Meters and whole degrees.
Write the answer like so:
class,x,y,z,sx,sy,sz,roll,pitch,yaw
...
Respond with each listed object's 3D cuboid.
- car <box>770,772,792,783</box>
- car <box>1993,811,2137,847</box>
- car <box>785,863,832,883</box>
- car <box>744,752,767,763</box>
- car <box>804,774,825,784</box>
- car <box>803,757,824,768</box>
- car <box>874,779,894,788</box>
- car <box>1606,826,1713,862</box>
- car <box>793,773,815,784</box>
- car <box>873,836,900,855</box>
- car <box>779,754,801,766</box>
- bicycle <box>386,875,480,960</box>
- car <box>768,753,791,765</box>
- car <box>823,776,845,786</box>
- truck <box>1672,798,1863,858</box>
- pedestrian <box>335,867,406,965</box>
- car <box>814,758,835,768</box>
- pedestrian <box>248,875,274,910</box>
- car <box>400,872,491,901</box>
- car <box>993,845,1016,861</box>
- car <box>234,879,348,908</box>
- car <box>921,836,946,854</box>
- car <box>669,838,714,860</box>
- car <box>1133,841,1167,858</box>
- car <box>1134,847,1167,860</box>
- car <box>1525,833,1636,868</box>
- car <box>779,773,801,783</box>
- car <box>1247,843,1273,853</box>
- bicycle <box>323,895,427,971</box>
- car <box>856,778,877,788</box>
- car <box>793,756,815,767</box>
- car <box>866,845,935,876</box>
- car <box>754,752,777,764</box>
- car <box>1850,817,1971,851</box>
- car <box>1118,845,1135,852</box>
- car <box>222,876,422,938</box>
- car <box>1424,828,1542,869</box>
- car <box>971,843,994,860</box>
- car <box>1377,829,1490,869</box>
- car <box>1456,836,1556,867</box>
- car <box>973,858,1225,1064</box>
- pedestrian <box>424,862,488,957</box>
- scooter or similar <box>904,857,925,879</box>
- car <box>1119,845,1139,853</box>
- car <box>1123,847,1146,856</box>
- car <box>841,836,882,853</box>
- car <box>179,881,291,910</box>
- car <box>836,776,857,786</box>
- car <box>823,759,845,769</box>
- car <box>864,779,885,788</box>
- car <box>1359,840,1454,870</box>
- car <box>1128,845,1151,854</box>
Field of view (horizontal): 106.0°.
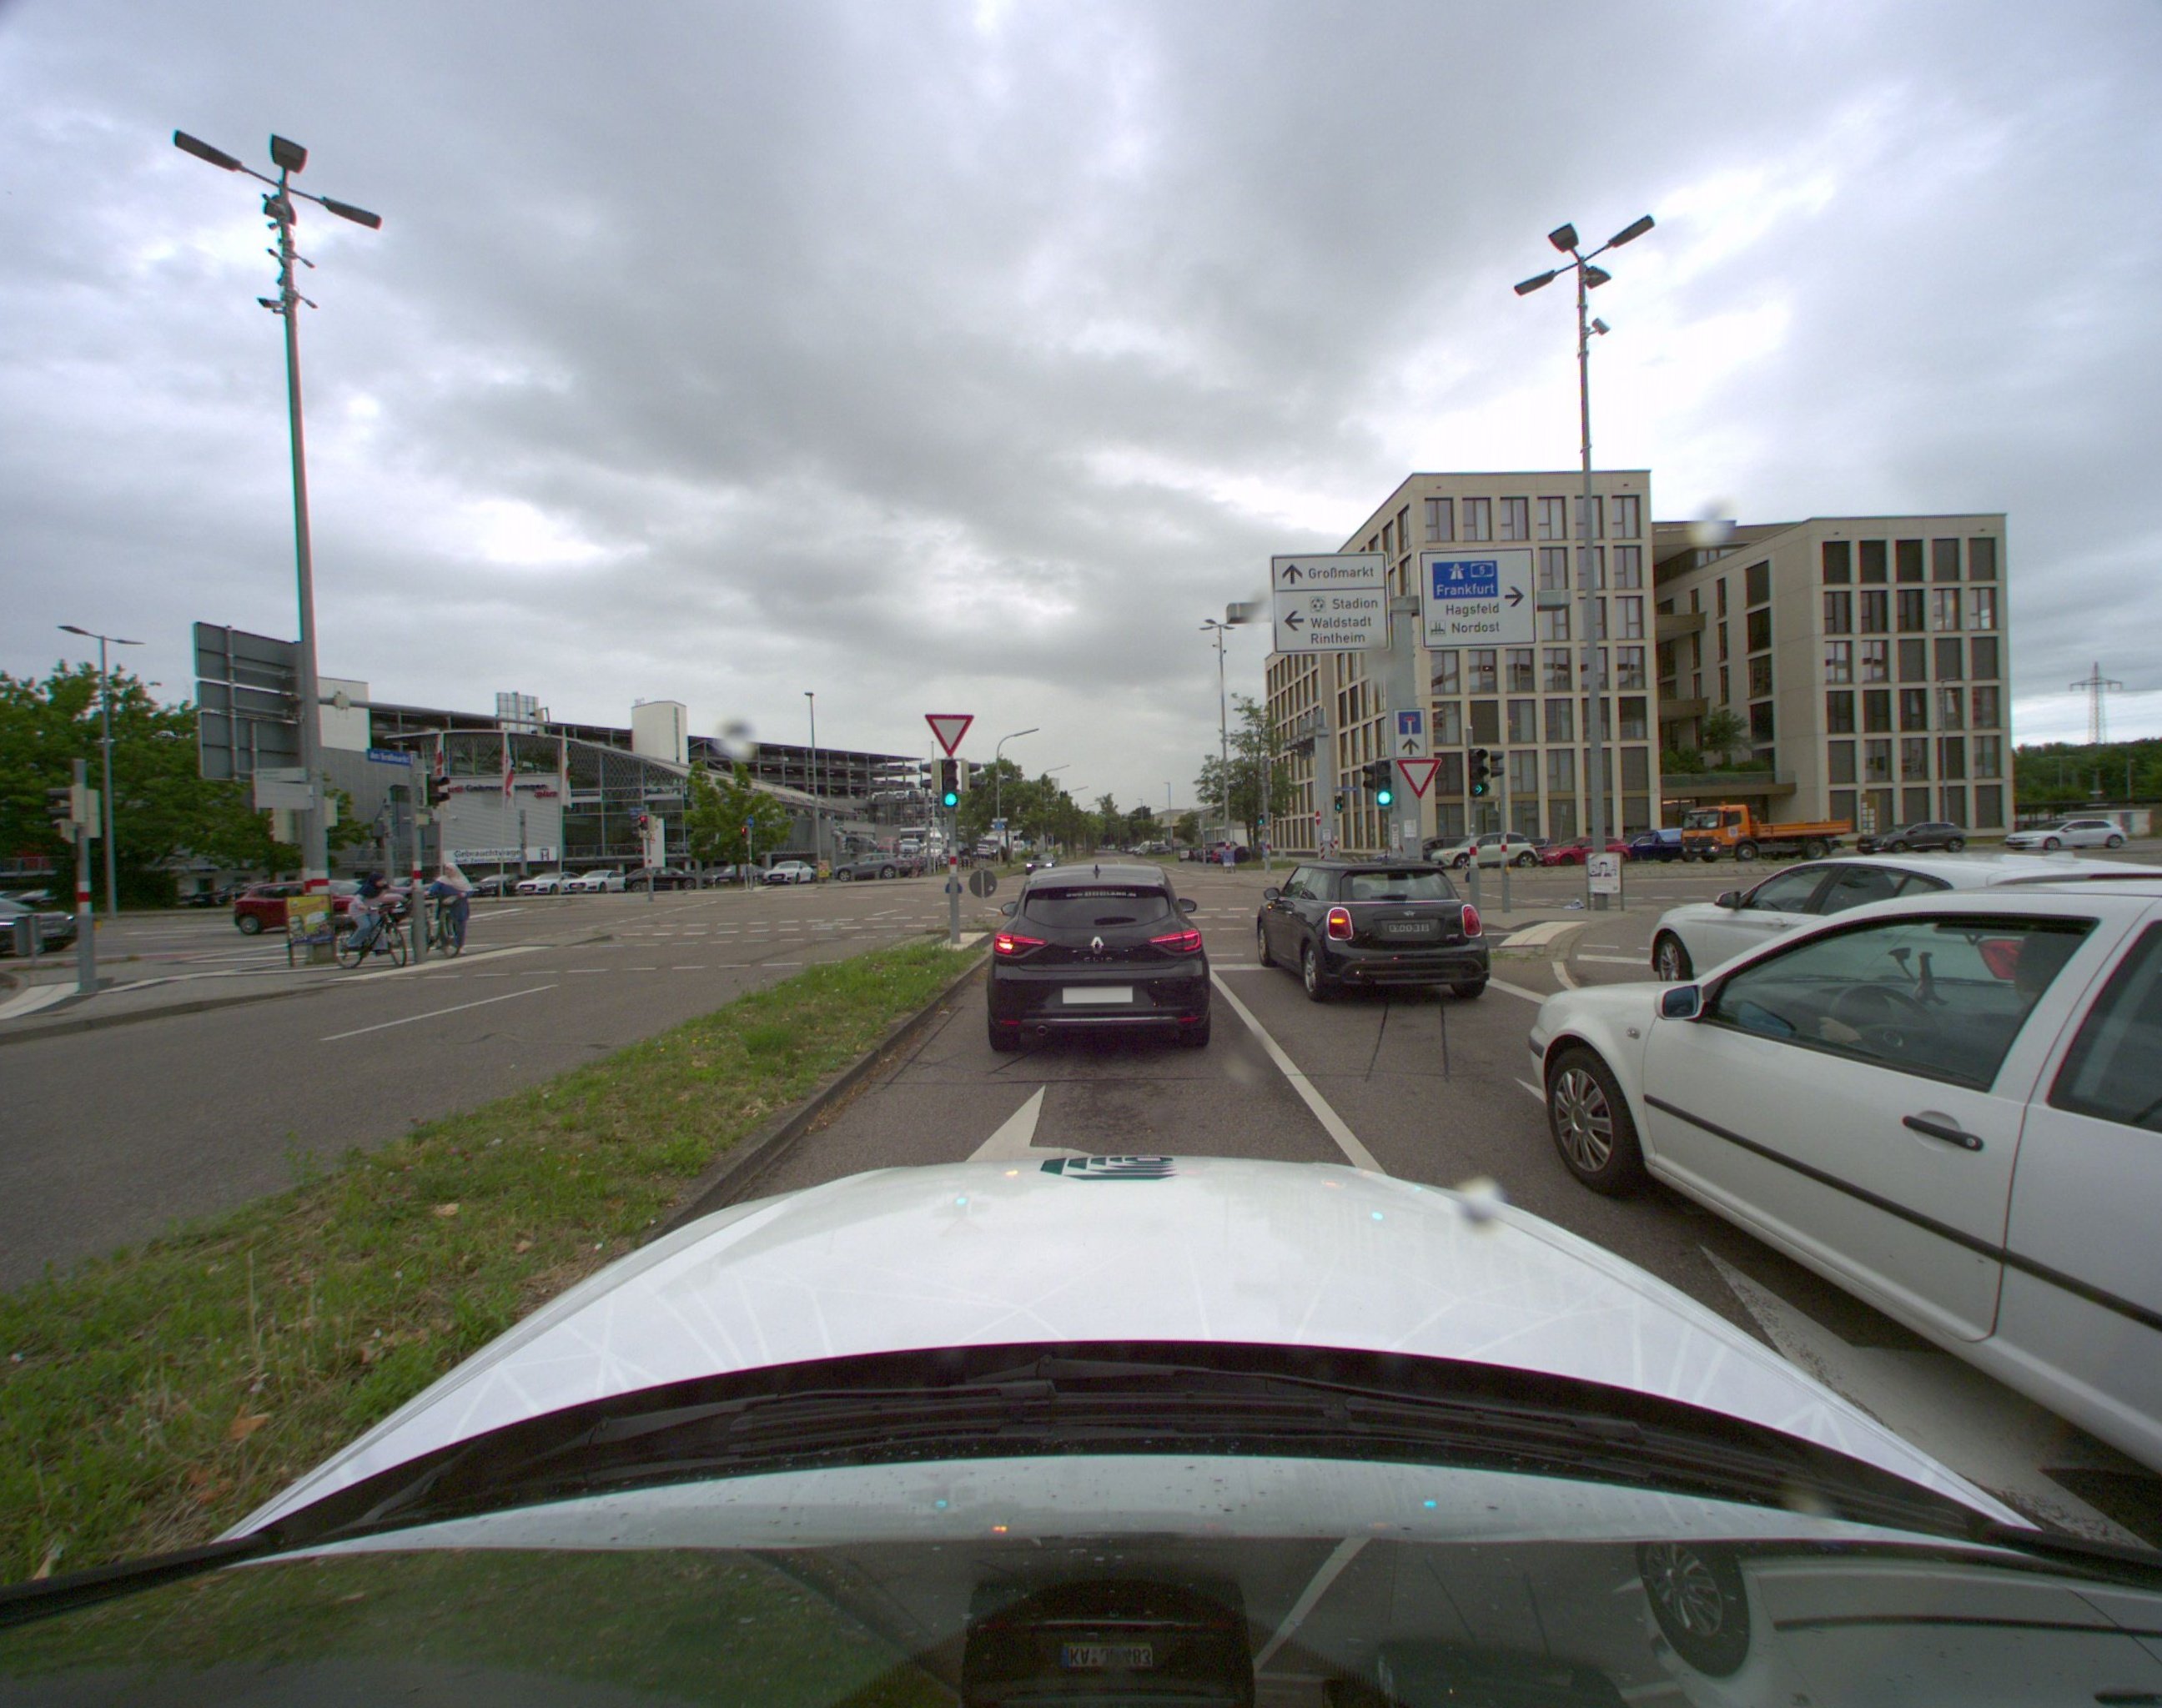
class,x,y,z,sx,sy,sz,roll,pitch,yaw
car,-56.695,-14.385,153.785,3.948,1.667,2.013,-1,0,33
car,49.246,-1.241,40.851,4.319,1.657,2.006,-1,-1,10
car,-26.082,1.822,78.024,3.979,1.838,1.757,0,-1,-4
car,-59.695,-17.709,149.330,3.948,1.667,2.013,-1,0,33
car,-52.398,-14.682,160.124,3.948,1.667,2.013,-1,0,33
car,-52.604,-17.948,160.134,3.948,1.667,2.013,-1,0,33
car,-42.586,-15.172,175.763,3.948,1.667,2.013,-1,0,33
car,29.477,-0.496,41.573,4.126,1.769,1.998,0,-1,-3
car,-53.814,-14.624,158.031,3.948,1.667,2.013,-1,0,33
car,-20.098,-0.893,84.230,1.988,1.849,3.997,0,-1,-2
car,-55.614,-17.941,155.550,3.948,1.667,2.013,-1,0,33
bicycle,-11.509,1.135,14.445,1.909,1.396,0.601,-5,0,31
car,-56.960,-17.946,153.713,3.948,1.667,2.013,-1,0,33
car,-49.771,-14.750,164.112,3.948,1.667,2.013,-1,0,33
truck,32.055,-1.165,38.222,6.633,2.638,2.820,0,-1,-1
pedestrian,-11.600,0.997,13.307,0.642,1.549,0.657,-3,-2,24
car,-51.134,-18.125,162.403,3.948,1.667,2.013,-1,0,33
pedestrian,-45.225,2.126,44.910,0.714,1.871,0.673,-2,-2,0
car,-35.544,1.847,45.721,1.897,1.486,4.186,-2,-2,-2
car,-7.898,-0.133,84.825,1.987,1.618,3.999,0,-1,0
car,-43.817,2.180,45.349,1.837,1.472,4.660,-1,-2,-2
car,-15.200,-0.899,83.999,1.988,1.823,3.997,0,-1,-2
car,-30.517,-0.385,63.948,1.815,1.662,3.996,0,-1,-3
car,12.775,-0.905,151.503,6.096,3.116,2.134,0,-1,0
car,10.986,-0.119,128.921,5.158,2.014,2.143,0,-1,-1
car,23.242,-0.153,37.961,3.976,1.601,1.999,0,-1,-2
car,-55.727,-14.510,155.845,3.948,1.667,2.013,-1,0,33
car,24.284,-0.821,110.498,3.238,1.332,1.477,0,-1,-17
bicycle,-11.525,1.292,13.277,1.923,1.166,0.511,-3,-2,24
car,-45.154,-14.968,171.336,3.948,1.667,2.013,-1,0,33
car,-53.834,-17.955,158.150,3.948,1.667,2.013,-1,0,33
car,-13.758,0.496,62.156,4.765,2.013,1.997,-4,0,-5
car,-58.650,-17.851,151.356,3.948,1.667,2.013,-1,0,33
car,42.576,-0.994,41.857,4.089,1.657,2.002,0,-1,3
car,12.875,-1.574,229.868,4.771,1.891,2.143,0,-1,-1
car,-22.361,1.538,24.129,4.058,1.487,1.738,-3,0,-5
car,16.922,-0.221,34.397,4.047,1.643,1.903,0,-1,-4
car,-10.199,-0.234,84.213,1.988,1.618,3.997,0,-1,-2
car,16.271,-0.208,37.726,4.396,1.769,1.998,0,-1,-3
car,21.391,-0.134,41.114,4.126,1.490,1.870,0,-1,-3
car,0.187,0.765,7.695,1.750,1.434,4.001,0,-1,2
pedestrian,-11.298,1.000,14.718,0.683,1.626,0.645,-5,-1,34
scooter or similar,-9.953,0.838,48.687,0.553,1.218,1.567,1,1,16
car,12.823,-1.366,217.945,5.156,2.014,2.144,0,-1,0
car,11.953,-0.592,182.135,5.156,2.014,2.144,0,-1,0
car,-24.462,-1.069,90.852,3.975,1.838,1.759,0,-1,-1
car,-46.623,2.258,45.006,1.845,1.421,4.214,-2,-2,-2
car,-48.064,-14.875,166.642,3.948,1.667,2.013,-1,0,33
car,-49.783,-18.112,164.195,3.948,1.667,2.013,-1,0,33
car,-43.948,-15.044,173.270,3.948,1.667,2.013,-1,0,33
car,16.335,0.060,41.010,4.074,1.432,1.750,0,-1,-3
car,12.558,-0.950,175.525,4.771,1.891,2.143,0,-1,-1
